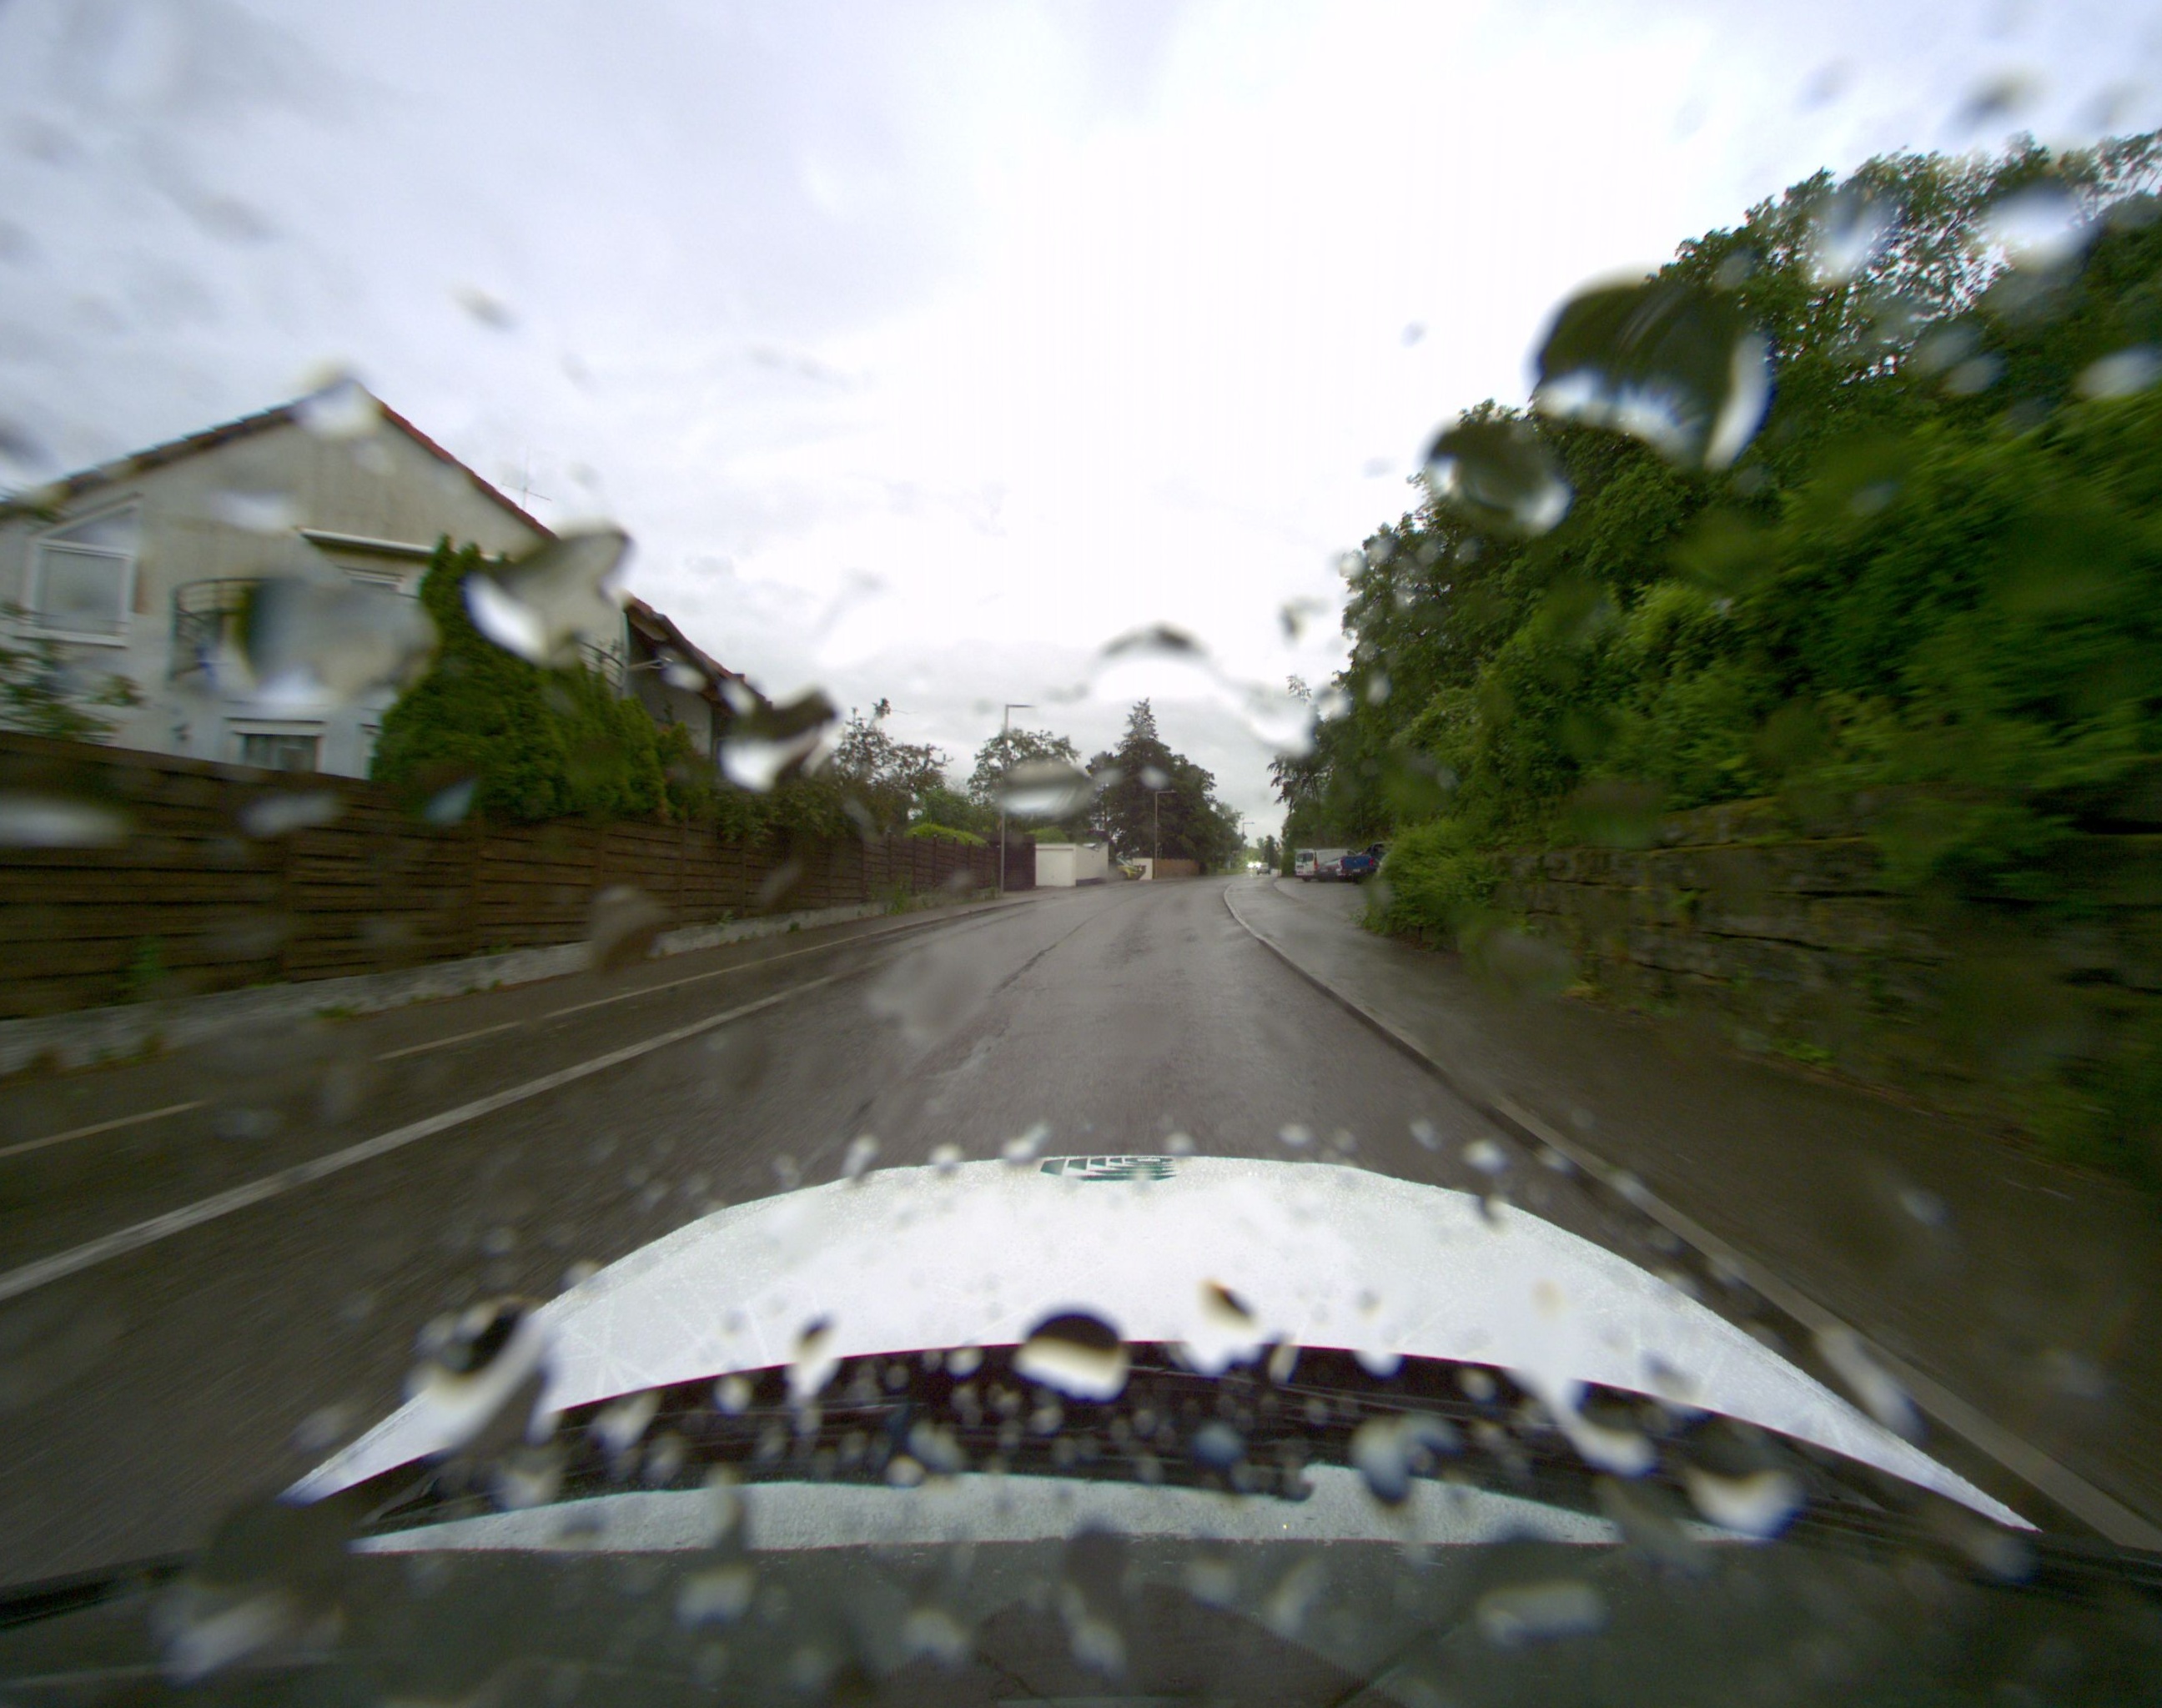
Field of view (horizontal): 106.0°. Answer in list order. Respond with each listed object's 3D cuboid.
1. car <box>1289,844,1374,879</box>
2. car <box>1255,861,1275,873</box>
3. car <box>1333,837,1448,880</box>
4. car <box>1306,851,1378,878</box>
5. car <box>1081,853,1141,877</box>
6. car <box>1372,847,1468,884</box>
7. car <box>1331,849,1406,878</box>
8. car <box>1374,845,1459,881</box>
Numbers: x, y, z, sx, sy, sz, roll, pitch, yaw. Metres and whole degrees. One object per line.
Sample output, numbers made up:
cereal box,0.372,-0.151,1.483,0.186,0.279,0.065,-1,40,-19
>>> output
car,14.982,0.425,48.708,4.858,1.940,2.135,-1,-1,-31
car,25.499,1.795,112.697,1.818,1.512,4.643,-1,-1,24
car,15.190,0.191,39.944,5.498,1.969,2.309,-1,-1,-30
car,14.653,0.593,45.645,3.808,1.348,1.744,-1,-1,-31
car,2.498,0.897,67.905,4.465,1.860,2.100,-2,-1,19
car,14.094,0.472,33.793,3.855,1.402,1.700,-1,-1,-31
car,15.281,0.518,43.260,4.009,1.413,1.610,-1,-1,-33
car,15.311,0.402,37.139,3.927,1.486,1.602,-1,-1,-33
